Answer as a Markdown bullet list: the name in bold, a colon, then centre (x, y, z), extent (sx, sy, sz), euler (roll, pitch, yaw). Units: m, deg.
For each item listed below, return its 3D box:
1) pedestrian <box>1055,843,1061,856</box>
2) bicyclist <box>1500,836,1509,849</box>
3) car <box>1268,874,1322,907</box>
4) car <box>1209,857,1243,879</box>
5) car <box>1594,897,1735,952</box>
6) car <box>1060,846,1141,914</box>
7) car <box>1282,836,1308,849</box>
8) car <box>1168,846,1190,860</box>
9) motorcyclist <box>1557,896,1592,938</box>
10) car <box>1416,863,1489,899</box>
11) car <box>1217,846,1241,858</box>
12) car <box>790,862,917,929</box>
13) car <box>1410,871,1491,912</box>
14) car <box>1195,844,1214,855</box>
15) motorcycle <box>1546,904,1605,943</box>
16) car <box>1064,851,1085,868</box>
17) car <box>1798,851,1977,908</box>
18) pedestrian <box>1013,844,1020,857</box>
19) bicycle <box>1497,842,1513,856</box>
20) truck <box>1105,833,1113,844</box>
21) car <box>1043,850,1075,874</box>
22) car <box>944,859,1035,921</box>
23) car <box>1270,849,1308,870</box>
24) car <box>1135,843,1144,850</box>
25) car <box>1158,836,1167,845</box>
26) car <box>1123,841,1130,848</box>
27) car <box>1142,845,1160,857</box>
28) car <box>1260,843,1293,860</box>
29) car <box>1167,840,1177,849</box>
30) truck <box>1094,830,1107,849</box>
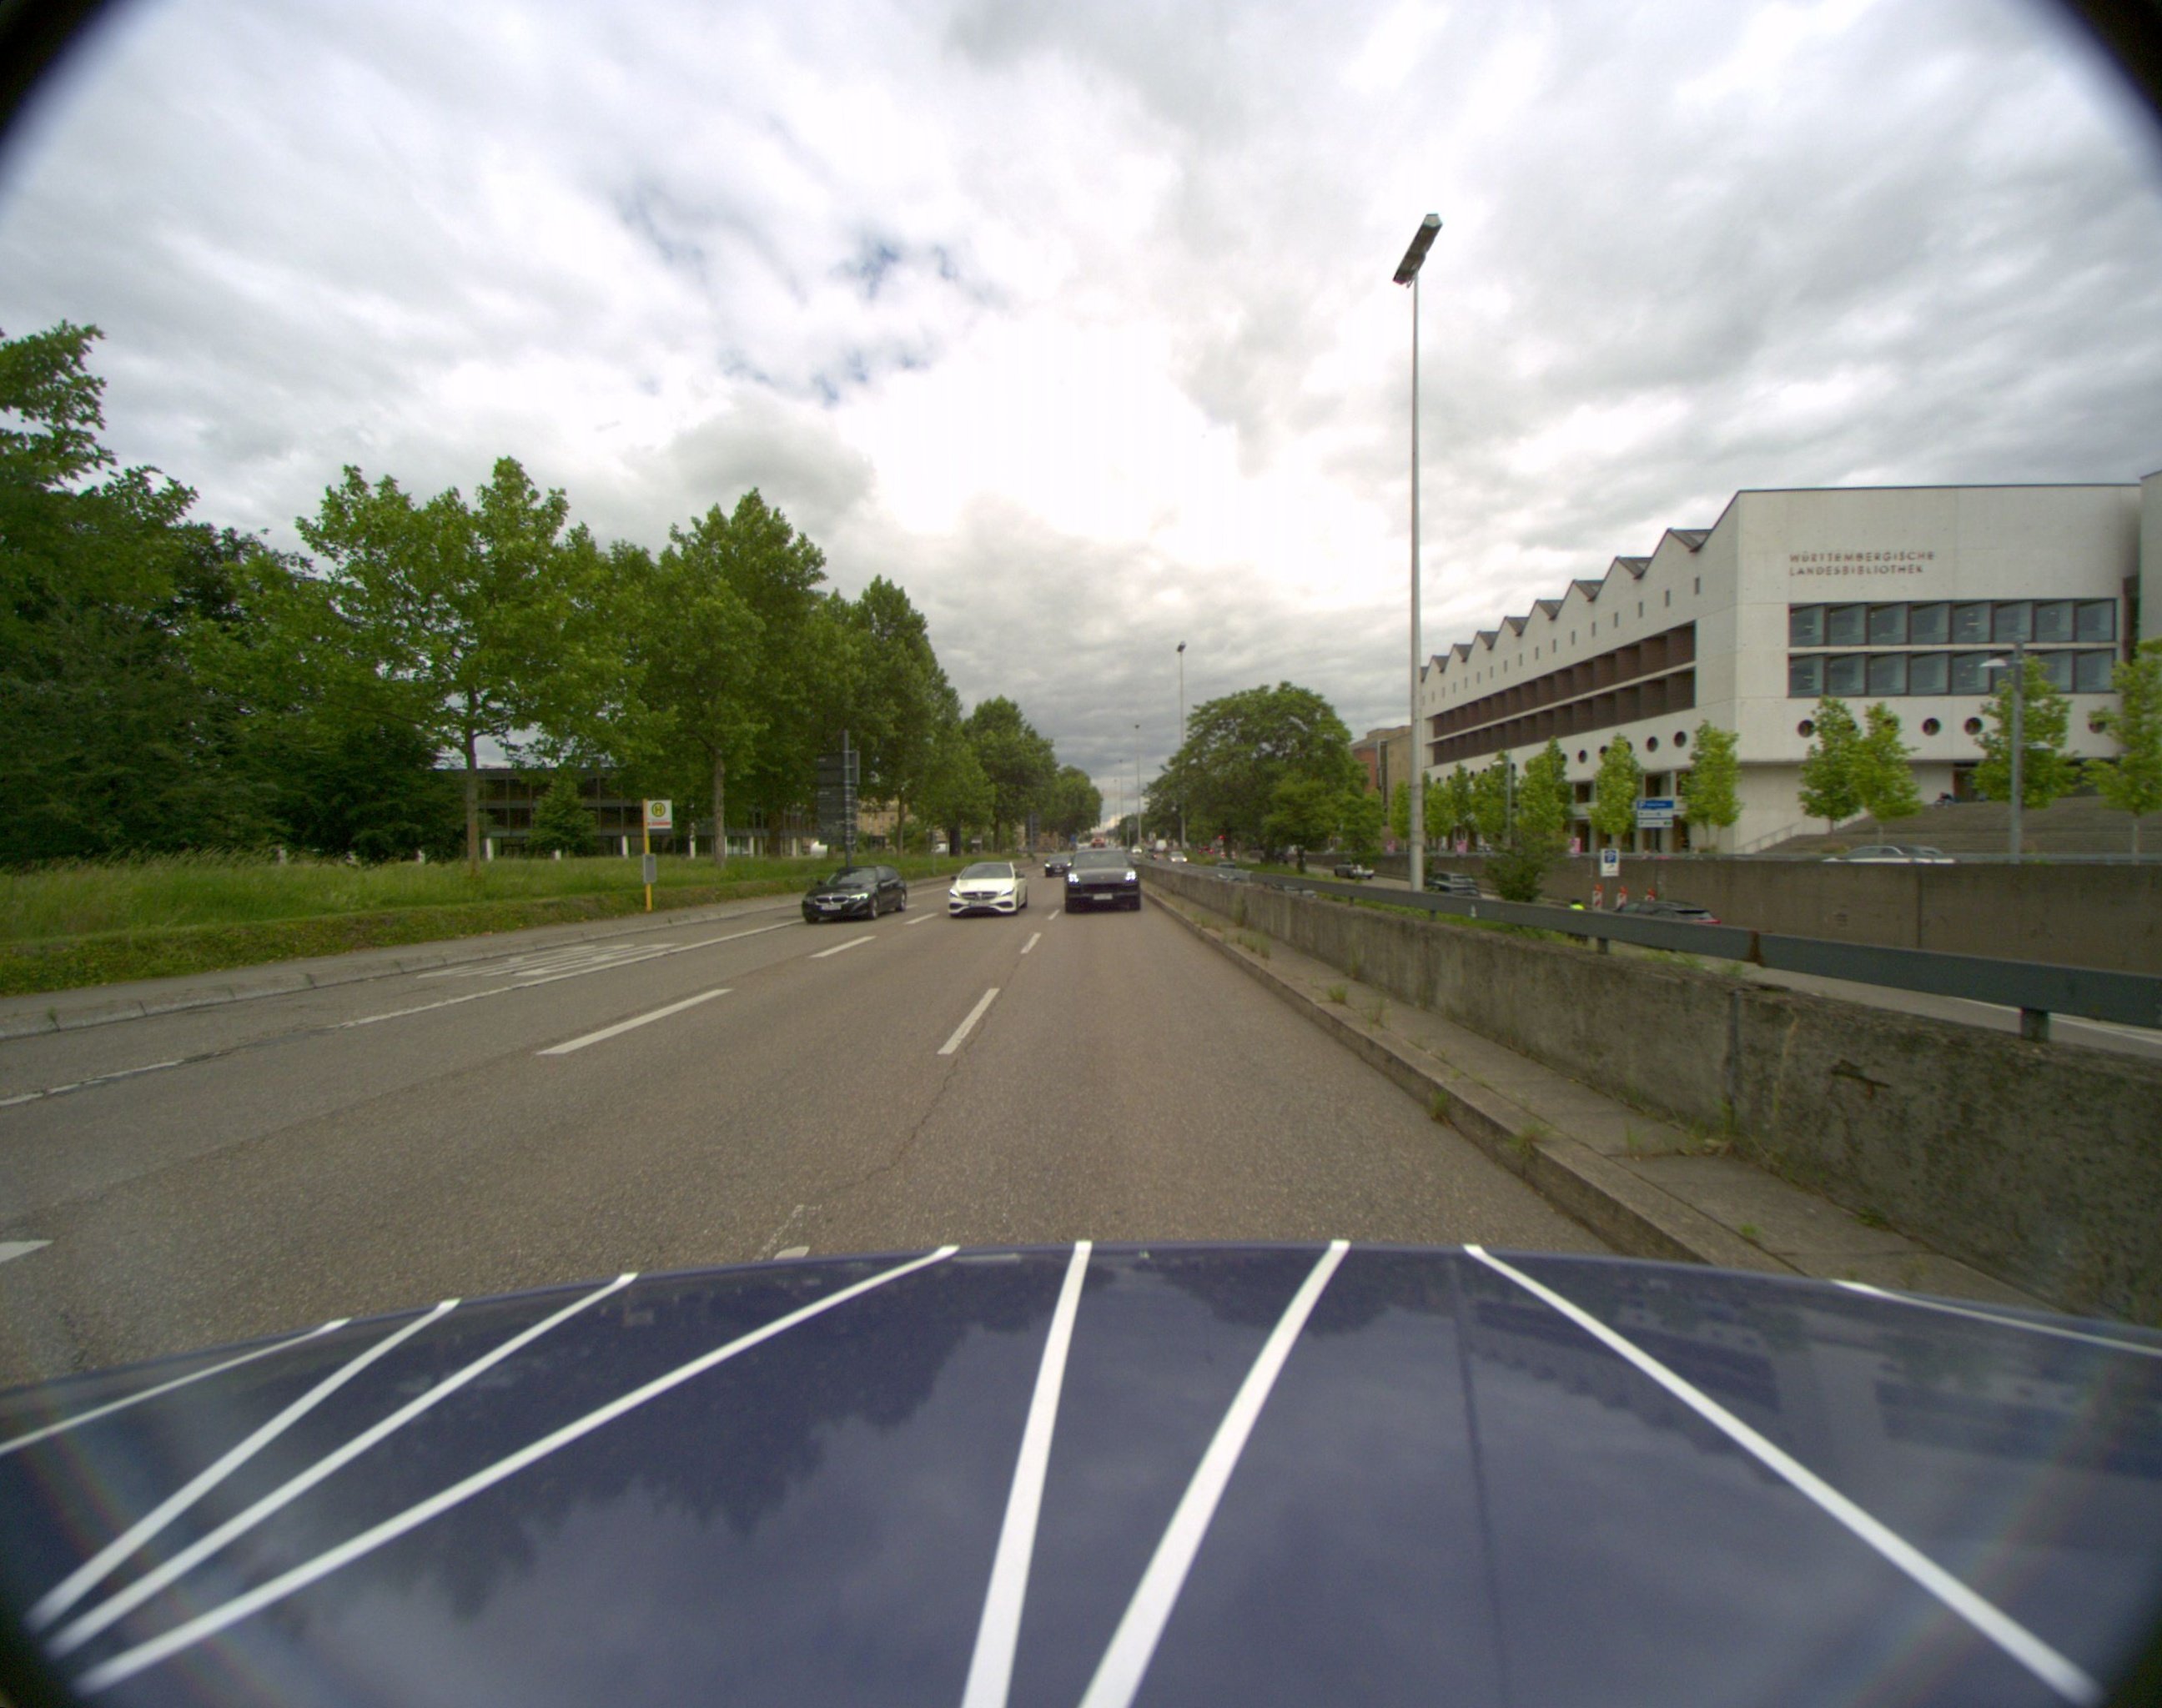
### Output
- **pedestrian**: centre (-3.742, -0.738, 122.604), extent (0.792, 2.001, 0.741), euler (-1, -1, 2)
- **bicyclist**: centre (37.881, -1.058, 67.899), extent (0.403, 1.154, 0.643), euler (-3, 2, -1)
- **car**: centre (10.907, 1.820, 38.930), extent (1.559, 1.406, 4.091), euler (-2, 1, 0)
- **car**: centre (10.239, 0.973, 53.771), extent (1.559, 1.406, 4.091), euler (-2, 1, 0)
- **car**: centre (20.347, 2.398, 26.759), extent (1.810, 1.321, 4.003), euler (0, 4, -1)
- **car**: centre (0.591, 0.604, 20.630), extent (1.904, 1.581, 4.732), euler (-1, 1, 3)
- **car**: centre (28.239, -1.483, 100.193), extent (1.955, 1.619, 4.489), euler (-2, 1, -3)
- **car**: centre (10.369, -0.096, 80.615), extent (1.657, 1.406, 4.091), euler (-2, 1, 0)
- **motorcyclist**: centre (17.540, 2.234, 27.023), extent (0.671, 1.344, 0.717), euler (3, 4, 0)
- **car**: centre (20.843, 1.459, 42.869), extent (1.874, 1.604, 4.388), euler (0, 4, -1)
- **car**: centre (16.982, -0.248, 87.512), extent (1.998, 1.390, 3.999), euler (2, 1, 0)
- **car**: centre (-6.181, 1.062, 21.266), extent (1.936, 1.451, 4.527), euler (-3, 1, 3)
- **car**: centre (17.382, 1.718, 35.965), extent (1.779, 1.481, 4.143), euler (0, 3, -1)
- **car**: centre (16.478, -0.649, 101.516), extent (1.998, 1.390, 3.999), euler (2, 1, 0)
- **motorcycle**: centre (17.537, 2.447, 26.996), extent (0.687, 1.092, 2.049), euler (2, 3, 0)
- **car**: centre (-0.573, 0.513, 70.735), extent (1.805, 1.426, 4.015), euler (-2, 1, 2)
- **car**: centre (28.202, 0.817, 26.790), extent (1.998, 1.753, 3.999), euler (2, 1, 0)
- **pedestrian**: centre (-10.379, -0.502, 121.515), extent (0.892, 2.002, 1.181), euler (-3, 2, 2)
- **bicycle**: centre (37.911, -0.464, 67.875), extent (0.403, 1.265, 1.698), euler (-3, 2, -1)
- **truck**: centre (9.075, -5.096, 247.547), extent (2.576, 3.288, 8.079), euler (-3, 1, 2)
- **car**: centre (-1.406, 0.496, 50.010), extent (1.852, 1.481, 4.092), euler (-2, 1, 2)
- **car**: centre (-2.432, 0.919, 21.295), extent (1.799, 1.411, 4.527), euler (-2, 1, 2)
- **car**: centre (17.418, 0.422, 63.857), extent (1.998, 1.665, 4.517), euler (2, 1, 0)
- **car**: centre (11.451, -1.508, 148.303), extent (1.372, 1.390, 3.721), euler (2, 1, 0)
- **car**: centre (17.001, -2.869, 158.790), extent (1.609, 1.844, 3.999), euler (-3, 1, 1)
- **car**: centre (10.351, -2.206, 174.663), extent (1.372, 1.390, 3.721), euler (2, 1, 0)
- **car**: centre (8.975, -0.388, 97.465), extent (1.787, 1.406, 4.091), euler (-2, 1, 0)
- **car**: centre (20.418, -0.279, 79.492), extent (2.161, 1.636, 4.515), euler (1, 2, -1)
- **car**: centre (17.133, -1.815, 143.761), extent (1.500, 1.429, 3.474), euler (-3, 1, 1)
- **truck**: centre (4.003, -2.927, 152.678), extent (2.357, 3.517, 9.424), euler (-3, 1, 2)
